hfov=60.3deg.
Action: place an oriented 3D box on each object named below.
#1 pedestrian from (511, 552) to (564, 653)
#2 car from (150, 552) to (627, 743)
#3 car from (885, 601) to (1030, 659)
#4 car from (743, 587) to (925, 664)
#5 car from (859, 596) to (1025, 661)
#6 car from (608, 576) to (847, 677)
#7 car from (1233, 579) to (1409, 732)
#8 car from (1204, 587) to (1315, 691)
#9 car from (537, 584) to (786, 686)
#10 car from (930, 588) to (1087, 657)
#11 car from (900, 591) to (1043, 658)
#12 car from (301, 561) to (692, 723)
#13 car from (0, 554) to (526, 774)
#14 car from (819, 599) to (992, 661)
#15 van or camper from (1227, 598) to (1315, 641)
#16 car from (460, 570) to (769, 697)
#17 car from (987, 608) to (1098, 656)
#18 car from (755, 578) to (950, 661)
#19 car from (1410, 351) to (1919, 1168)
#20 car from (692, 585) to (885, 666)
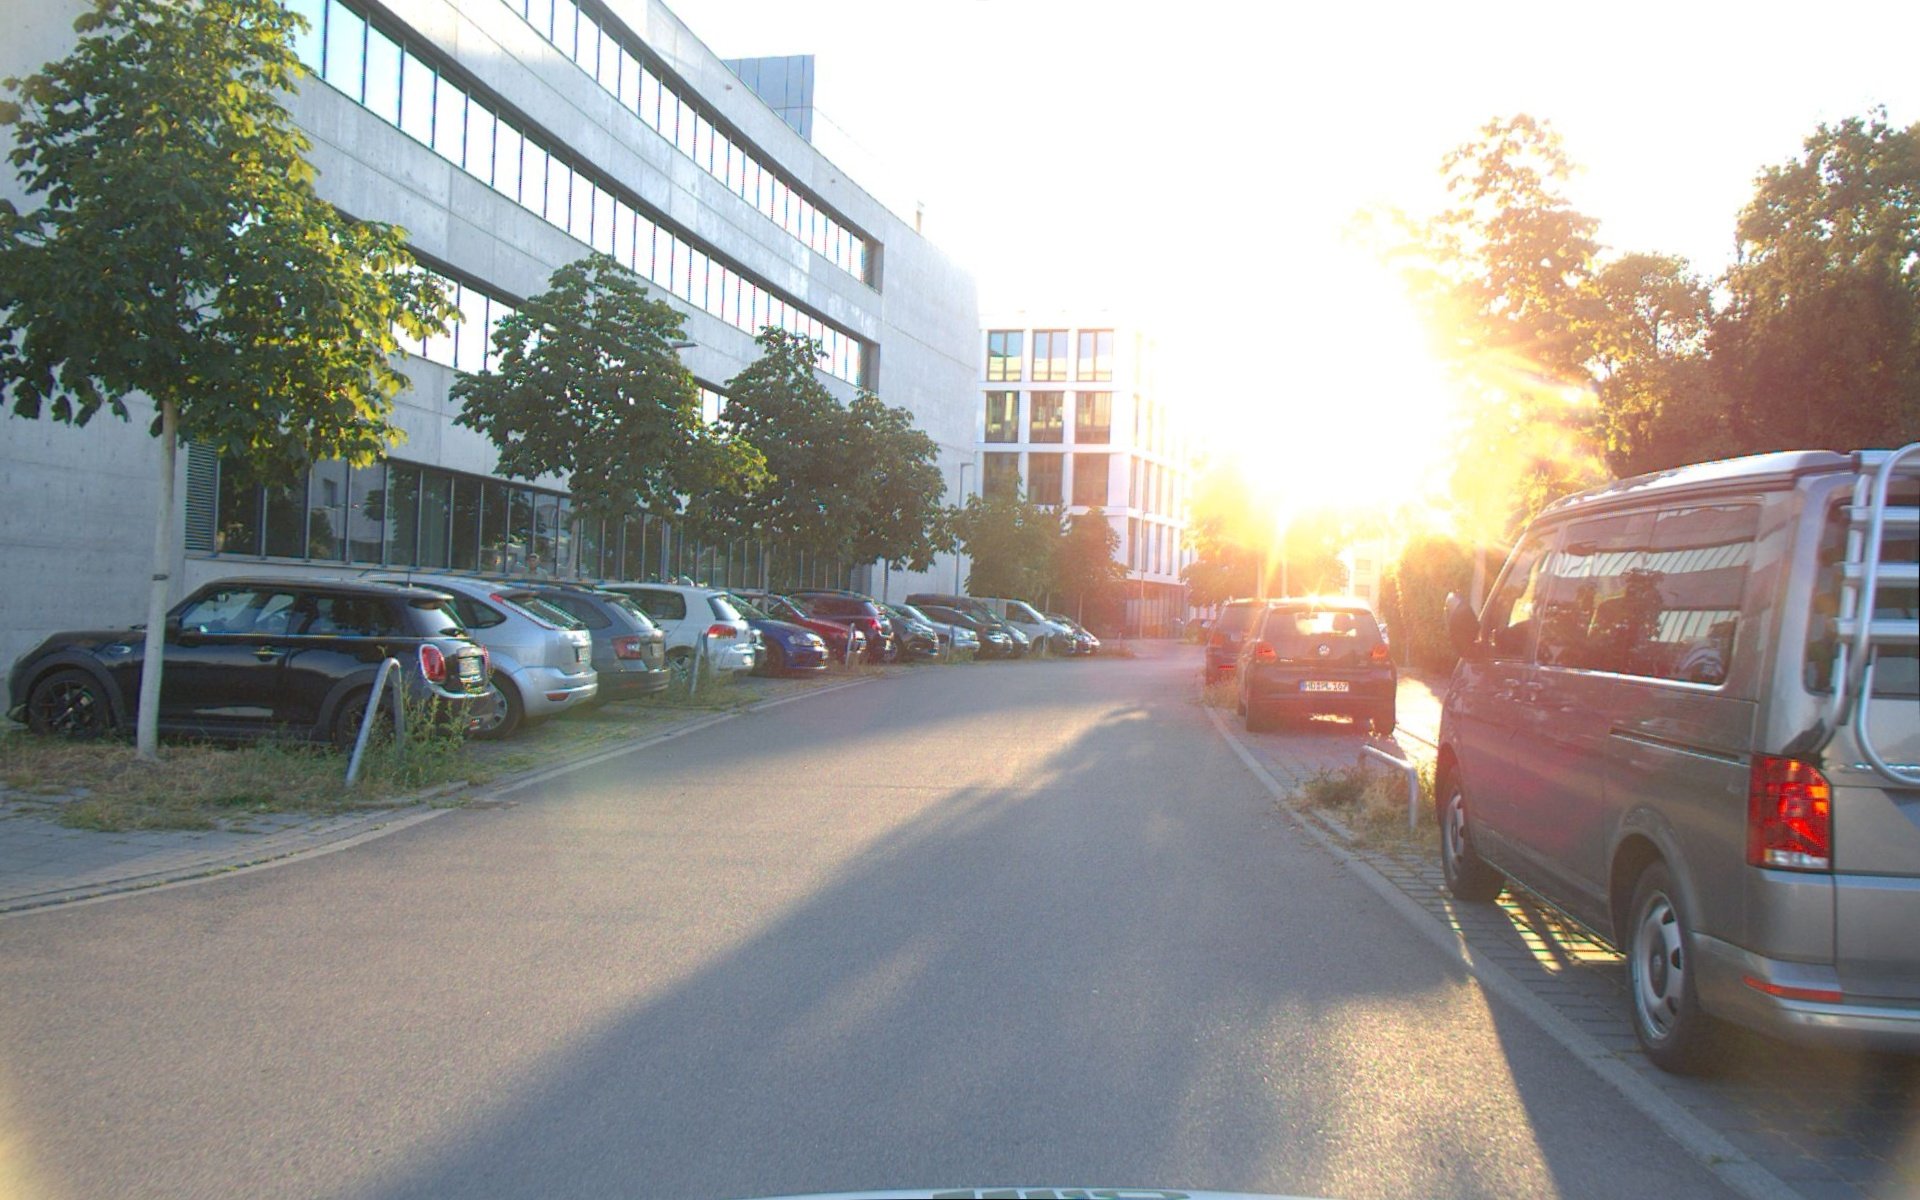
[{"bbox_3d":[-7.828,0.051,30.681,0.632,1.815,0.725,3,-1,7],"label":"pedestrian"},{"bbox_3d":[-5.548,0.445,16.436,4.002,1.555,1.846,3,0,1],"label":"car"},{"bbox_3d":[-0.049,0.913,50.564,4.057,1.428,1.726,4,-1,14],"label":"car"},{"bbox_3d":[-2.743,0.556,36.438,3.623,1.483,1.680,2,-1,10],"label":"car"},{"bbox_3d":[-0.511,0.817,47.123,4.306,1.525,1.764,4,-1,17],"label":"car"},{"bbox_3d":[-4.083,0.451,29.318,3.788,1.537,1.761,3,0,8],"label":"car"},{"bbox_3d":[4.124,0.587,19.379,1.703,1.579,3.642,1,0,8],"label":"car"},{"bbox_3d":[5.043,0.613,28.015,1.674,1.577,4.552,1,0,10],"label":"car"},{"bbox_3d":[-4.723,0.534,26.493,3.557,1.385,1.686,3,0,3],"label":"car"},{"bbox_3d":[1.685,0.772,56.858,4.969,1.980,1.890,4,-1,15],"label":"car"},{"bbox_3d":[0.395,0.780,52.556,4.157,1.772,1.726,4,-1,14],"label":"car"},{"bbox_3d":[-5.190,0.443,18.821,3.916,1.538,1.585,3,1,1],"label":"car"},{"bbox_3d":[-5.715,0.485,13.745,3.657,1.507,1.770,3,1,2],"label":"car"},{"bbox_3d":[-1.465,0.786,44.901,4.339,1.489,1.764,2,0,13],"label":"car"},{"bbox_3d":[20.339,1.267,108.227,5.342,2.527,1.775,3,1,23],"label":"van or camper"},{"bbox_3d":[-4.877,0.452,23.646,3.903,1.537,1.761,3,0,6],"label":"car"},{"bbox_3d":[3.104,1.196,62.074,3.805,1.514,1.652,4,0,16],"label":"car"},{"bbox_3d":[-2.505,0.460,39.122,4.217,1.726,1.898,2,-1,10],"label":"car"},{"bbox_3d":[3.357,0.432,6.713,2.022,2.131,4.874,1,0,4],"label":"car"},{"bbox_3d":[-3.537,0.535,34.437,3.623,1.483,1.713,2,-1,8],"label":"car"}]
